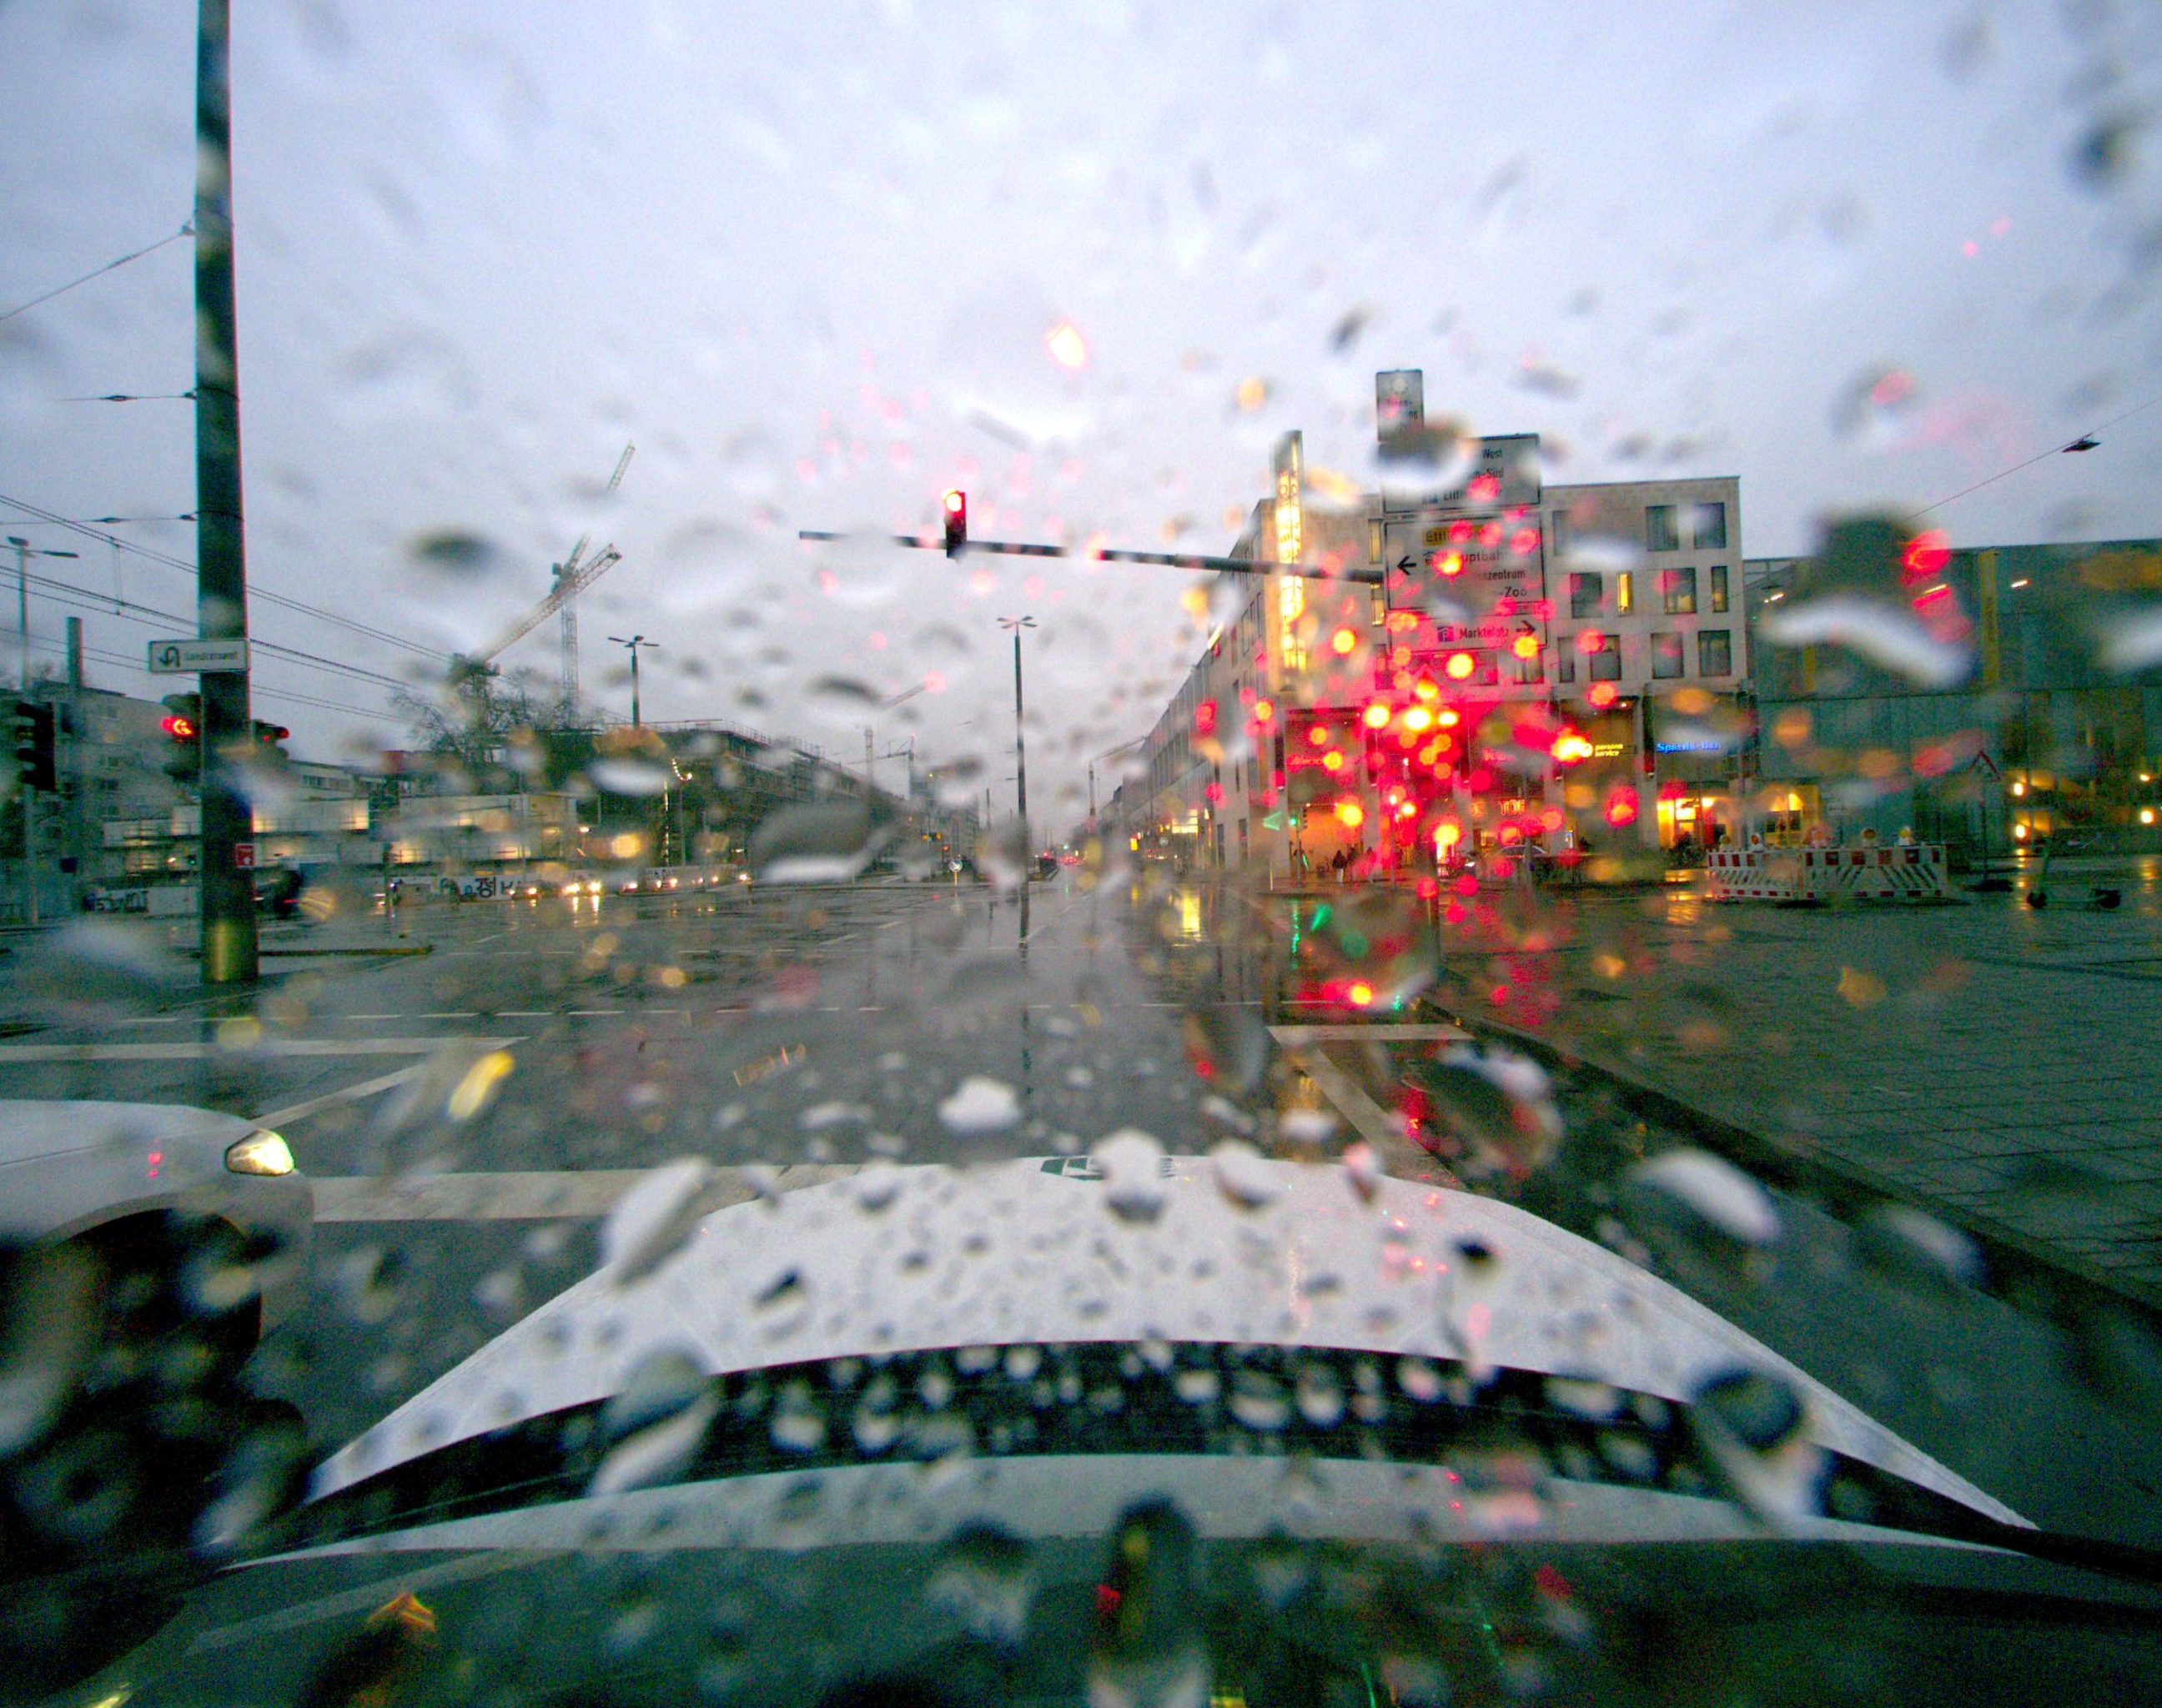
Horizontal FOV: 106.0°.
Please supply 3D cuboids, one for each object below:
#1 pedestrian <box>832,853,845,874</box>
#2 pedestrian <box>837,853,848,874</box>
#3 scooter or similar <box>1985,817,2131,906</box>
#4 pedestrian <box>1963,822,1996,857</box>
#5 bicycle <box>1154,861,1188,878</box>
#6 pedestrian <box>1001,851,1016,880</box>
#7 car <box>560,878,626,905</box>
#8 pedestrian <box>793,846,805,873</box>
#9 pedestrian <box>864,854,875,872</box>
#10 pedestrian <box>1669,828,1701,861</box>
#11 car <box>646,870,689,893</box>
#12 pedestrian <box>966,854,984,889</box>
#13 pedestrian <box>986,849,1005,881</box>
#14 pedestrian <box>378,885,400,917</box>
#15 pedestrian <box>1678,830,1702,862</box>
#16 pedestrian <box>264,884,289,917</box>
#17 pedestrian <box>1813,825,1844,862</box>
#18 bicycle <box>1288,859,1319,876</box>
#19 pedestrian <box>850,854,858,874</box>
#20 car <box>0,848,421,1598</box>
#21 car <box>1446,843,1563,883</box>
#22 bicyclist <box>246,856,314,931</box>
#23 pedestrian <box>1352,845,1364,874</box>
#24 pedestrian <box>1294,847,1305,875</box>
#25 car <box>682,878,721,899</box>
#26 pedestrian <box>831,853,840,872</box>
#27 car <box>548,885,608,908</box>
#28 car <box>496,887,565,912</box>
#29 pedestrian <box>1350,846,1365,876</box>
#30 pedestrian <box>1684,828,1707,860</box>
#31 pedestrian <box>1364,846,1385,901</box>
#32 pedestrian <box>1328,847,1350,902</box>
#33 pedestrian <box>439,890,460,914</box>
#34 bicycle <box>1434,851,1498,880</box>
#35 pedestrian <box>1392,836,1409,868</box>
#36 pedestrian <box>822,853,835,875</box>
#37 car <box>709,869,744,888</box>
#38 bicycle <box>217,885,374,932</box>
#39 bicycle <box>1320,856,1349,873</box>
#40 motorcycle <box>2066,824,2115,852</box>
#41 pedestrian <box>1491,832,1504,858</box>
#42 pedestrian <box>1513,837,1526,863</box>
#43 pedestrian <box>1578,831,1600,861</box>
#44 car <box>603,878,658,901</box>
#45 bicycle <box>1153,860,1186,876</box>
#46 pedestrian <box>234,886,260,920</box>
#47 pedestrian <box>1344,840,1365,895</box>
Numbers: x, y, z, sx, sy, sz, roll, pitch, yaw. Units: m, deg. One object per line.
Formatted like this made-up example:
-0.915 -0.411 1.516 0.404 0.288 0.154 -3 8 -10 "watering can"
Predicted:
-23.570 0.942 79.284 0.939 2.014 1.094 0 -1 0 "pedestrian"
-22.515 0.899 76.842 0.762 1.898 0.763 0 -2 1 "pedestrian"
15.693 0.109 13.139 0.590 1.352 1.495 0 0 2 "scooter or similar"
44.008 -0.699 39.874 0.737 1.684 0.783 0 -1 8 "pedestrian"
6.806 1.150 61.560 2.434 1.154 0.674 -2 -1 0 "bicycle"
-4.288 0.672 48.233 0.605 1.686 0.581 -1 -1 44 "pedestrian"
-33.623 2.558 56.236 1.986 1.657 4.001 -2 0 2 "car"
-24.039 0.468 69.497 0.762 2.323 0.763 0 -2 1 "pedestrian"
-23.870 1.046 91.893 0.940 2.014 1.092 0 -1 -5 "pedestrian"
31.628 -0.493 42.640 1.026 1.684 0.824 0 -1 1 "pedestrian"
-34.806 2.317 68.599 1.862 1.828 3.993 0 -1 -5 "car"
-6.202 1.031 47.721 0.776 2.014 0.732 -1 -1 44 "pedestrian"
-4.908 0.613 46.763 0.826 1.831 0.778 0 -1 -29 "pedestrian"
-48.390 3.274 56.988 0.872 2.165 0.763 0 -1 -7 "pedestrian"
33.194 -0.424 44.393 0.737 1.684 0.783 0 -1 8 "pedestrian"
-49.123 2.834 49.733 0.781 2.014 0.748 0 -1 6 "pedestrian"
34.332 -0.462 37.407 0.737 1.684 0.783 0 -1 8 "pedestrian"
13.814 0.844 50.514 1.764 1.070 0.524 0 -1 -4 "bicycle"
-22.739 0.978 81.528 0.569 1.968 0.664 1 -1 -4 "pedestrian"
-3.197 0.763 0.343 2.010 1.487 4.561 -2 0 1 "car"
17.908 0.390 34.575 3.970 1.618 2.001 0 -1 3 "car"
-20.777 1.003 21.158 1.165 1.871 0.737 0 -1 -37 "bicyclist"
16.215 0.307 47.662 0.480 1.663 0.460 -3 -1 32 "pedestrian"
13.371 0.436 49.885 0.596 1.745 0.526 -1 -1 10 "pedestrian"
-35.399 3.175 76.081 1.989 1.790 3.994 0 -1 -4 "car"
-23.495 0.821 78.020 0.696 1.881 0.553 0 -1 1 "pedestrian"
-39.004 3.291 63.264 1.986 1.530 4.001 -2 0 2 "car"
-38.385 3.151 56.907 1.986 1.530 4.001 -2 0 2 "car"
16.211 0.419 47.737 0.634 1.709 0.574 -2 -1 1 "pedestrian"
34.576 -0.576 45.828 0.782 1.739 0.779 -3 -1 17 "pedestrian"
13.221 0.887 36.693 0.691 2.448 0.792 0 -1 1 "pedestrian"
11.533 0.897 36.402 0.712 2.441 0.758 0 -1 1 "pedestrian"
-36.896 2.801 47.590 0.721 1.388 0.729 -1 -1 26 "pedestrian"
19.261 0.575 40.795 2.705 1.359 0.957 -2 -1 -2 "bicycle"
20.642 -0.112 52.615 0.841 2.013 0.700 -2 0 10 "pedestrian"
-23.837 0.924 76.779 0.940 2.014 1.092 0 -1 -5 "pedestrian"
-35.471 2.448 81.645 1.989 1.790 3.994 0 -1 -4 "car"
-20.498 1.393 21.361 2.879 1.099 0.737 0 -1 -37 "bicycle"
15.732 0.651 50.605 1.642 1.070 0.524 0 -1 -2 "bicycle"
48.257 -0.759 38.931 1.482 1.352 0.595 0 0 5 "motorcycle"
28.242 -0.608 55.222 0.728 1.718 0.743 -3 -1 29 "pedestrian"
28.758 -0.284 53.419 0.613 1.685 0.366 -2 -1 -2 "pedestrian"
29.380 -0.437 47.104 0.890 1.684 0.528 -2 -1 1 "pedestrian"
-34.267 2.636 62.091 2.074 1.530 4.603 -2 0 -7 "car"
6.785 1.072 62.331 2.417 1.099 0.712 -2 -1 0 "bicycle"
-50.012 2.928 48.854 0.861 2.014 0.624 0 -1 -6 "pedestrian"
12.434 0.617 36.994 0.687 2.441 0.758 0 -1 1 "pedestrian"
